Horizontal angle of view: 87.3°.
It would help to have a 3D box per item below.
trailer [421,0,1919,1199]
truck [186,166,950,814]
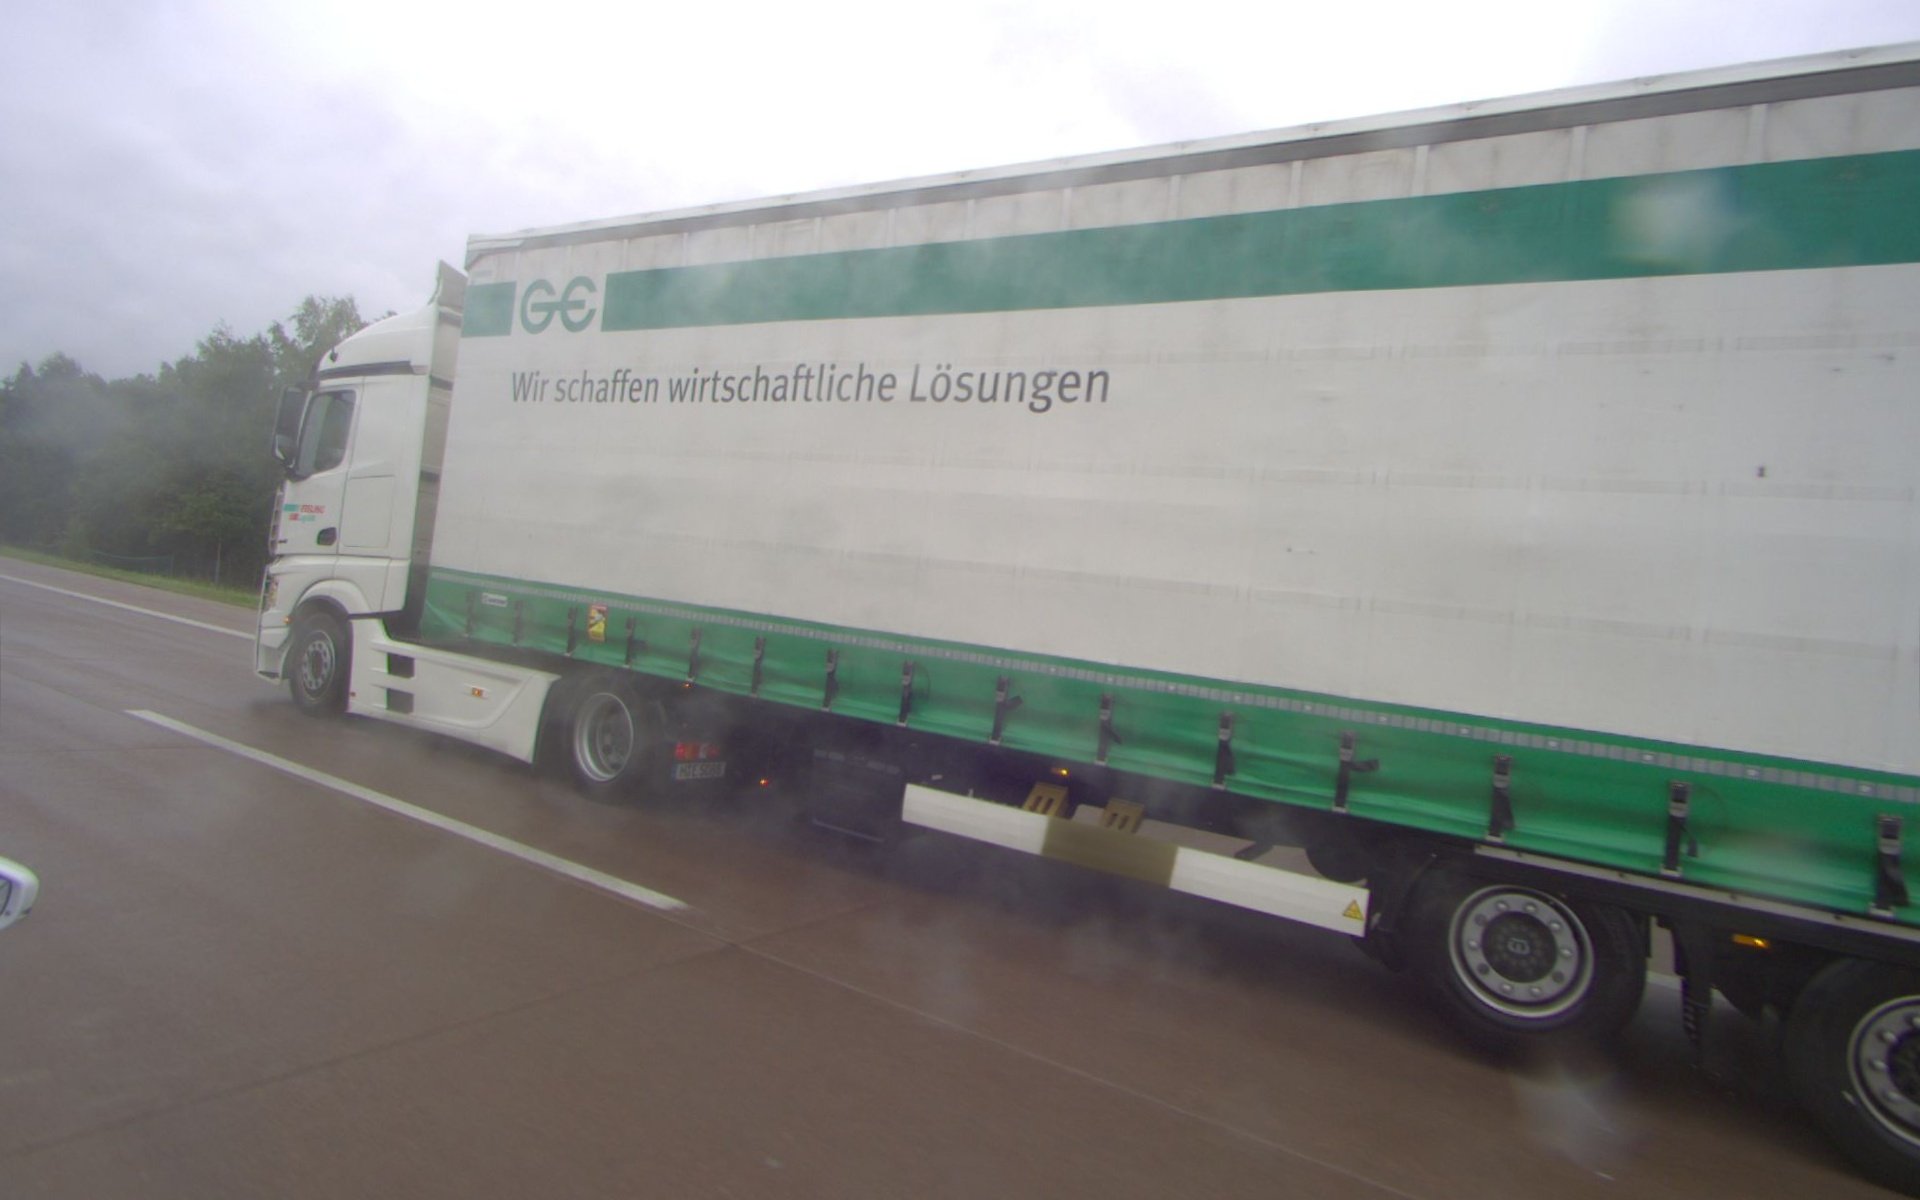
[{"bbox_3d":[2.394,-0.235,5.572,12.909,4.283,2.857,7,0,31],"label":"trailer"},{"bbox_3d":[-3.734,-0.905,9.239,6.242,4.155,2.886,7,-1,31],"label":"truck"}]
